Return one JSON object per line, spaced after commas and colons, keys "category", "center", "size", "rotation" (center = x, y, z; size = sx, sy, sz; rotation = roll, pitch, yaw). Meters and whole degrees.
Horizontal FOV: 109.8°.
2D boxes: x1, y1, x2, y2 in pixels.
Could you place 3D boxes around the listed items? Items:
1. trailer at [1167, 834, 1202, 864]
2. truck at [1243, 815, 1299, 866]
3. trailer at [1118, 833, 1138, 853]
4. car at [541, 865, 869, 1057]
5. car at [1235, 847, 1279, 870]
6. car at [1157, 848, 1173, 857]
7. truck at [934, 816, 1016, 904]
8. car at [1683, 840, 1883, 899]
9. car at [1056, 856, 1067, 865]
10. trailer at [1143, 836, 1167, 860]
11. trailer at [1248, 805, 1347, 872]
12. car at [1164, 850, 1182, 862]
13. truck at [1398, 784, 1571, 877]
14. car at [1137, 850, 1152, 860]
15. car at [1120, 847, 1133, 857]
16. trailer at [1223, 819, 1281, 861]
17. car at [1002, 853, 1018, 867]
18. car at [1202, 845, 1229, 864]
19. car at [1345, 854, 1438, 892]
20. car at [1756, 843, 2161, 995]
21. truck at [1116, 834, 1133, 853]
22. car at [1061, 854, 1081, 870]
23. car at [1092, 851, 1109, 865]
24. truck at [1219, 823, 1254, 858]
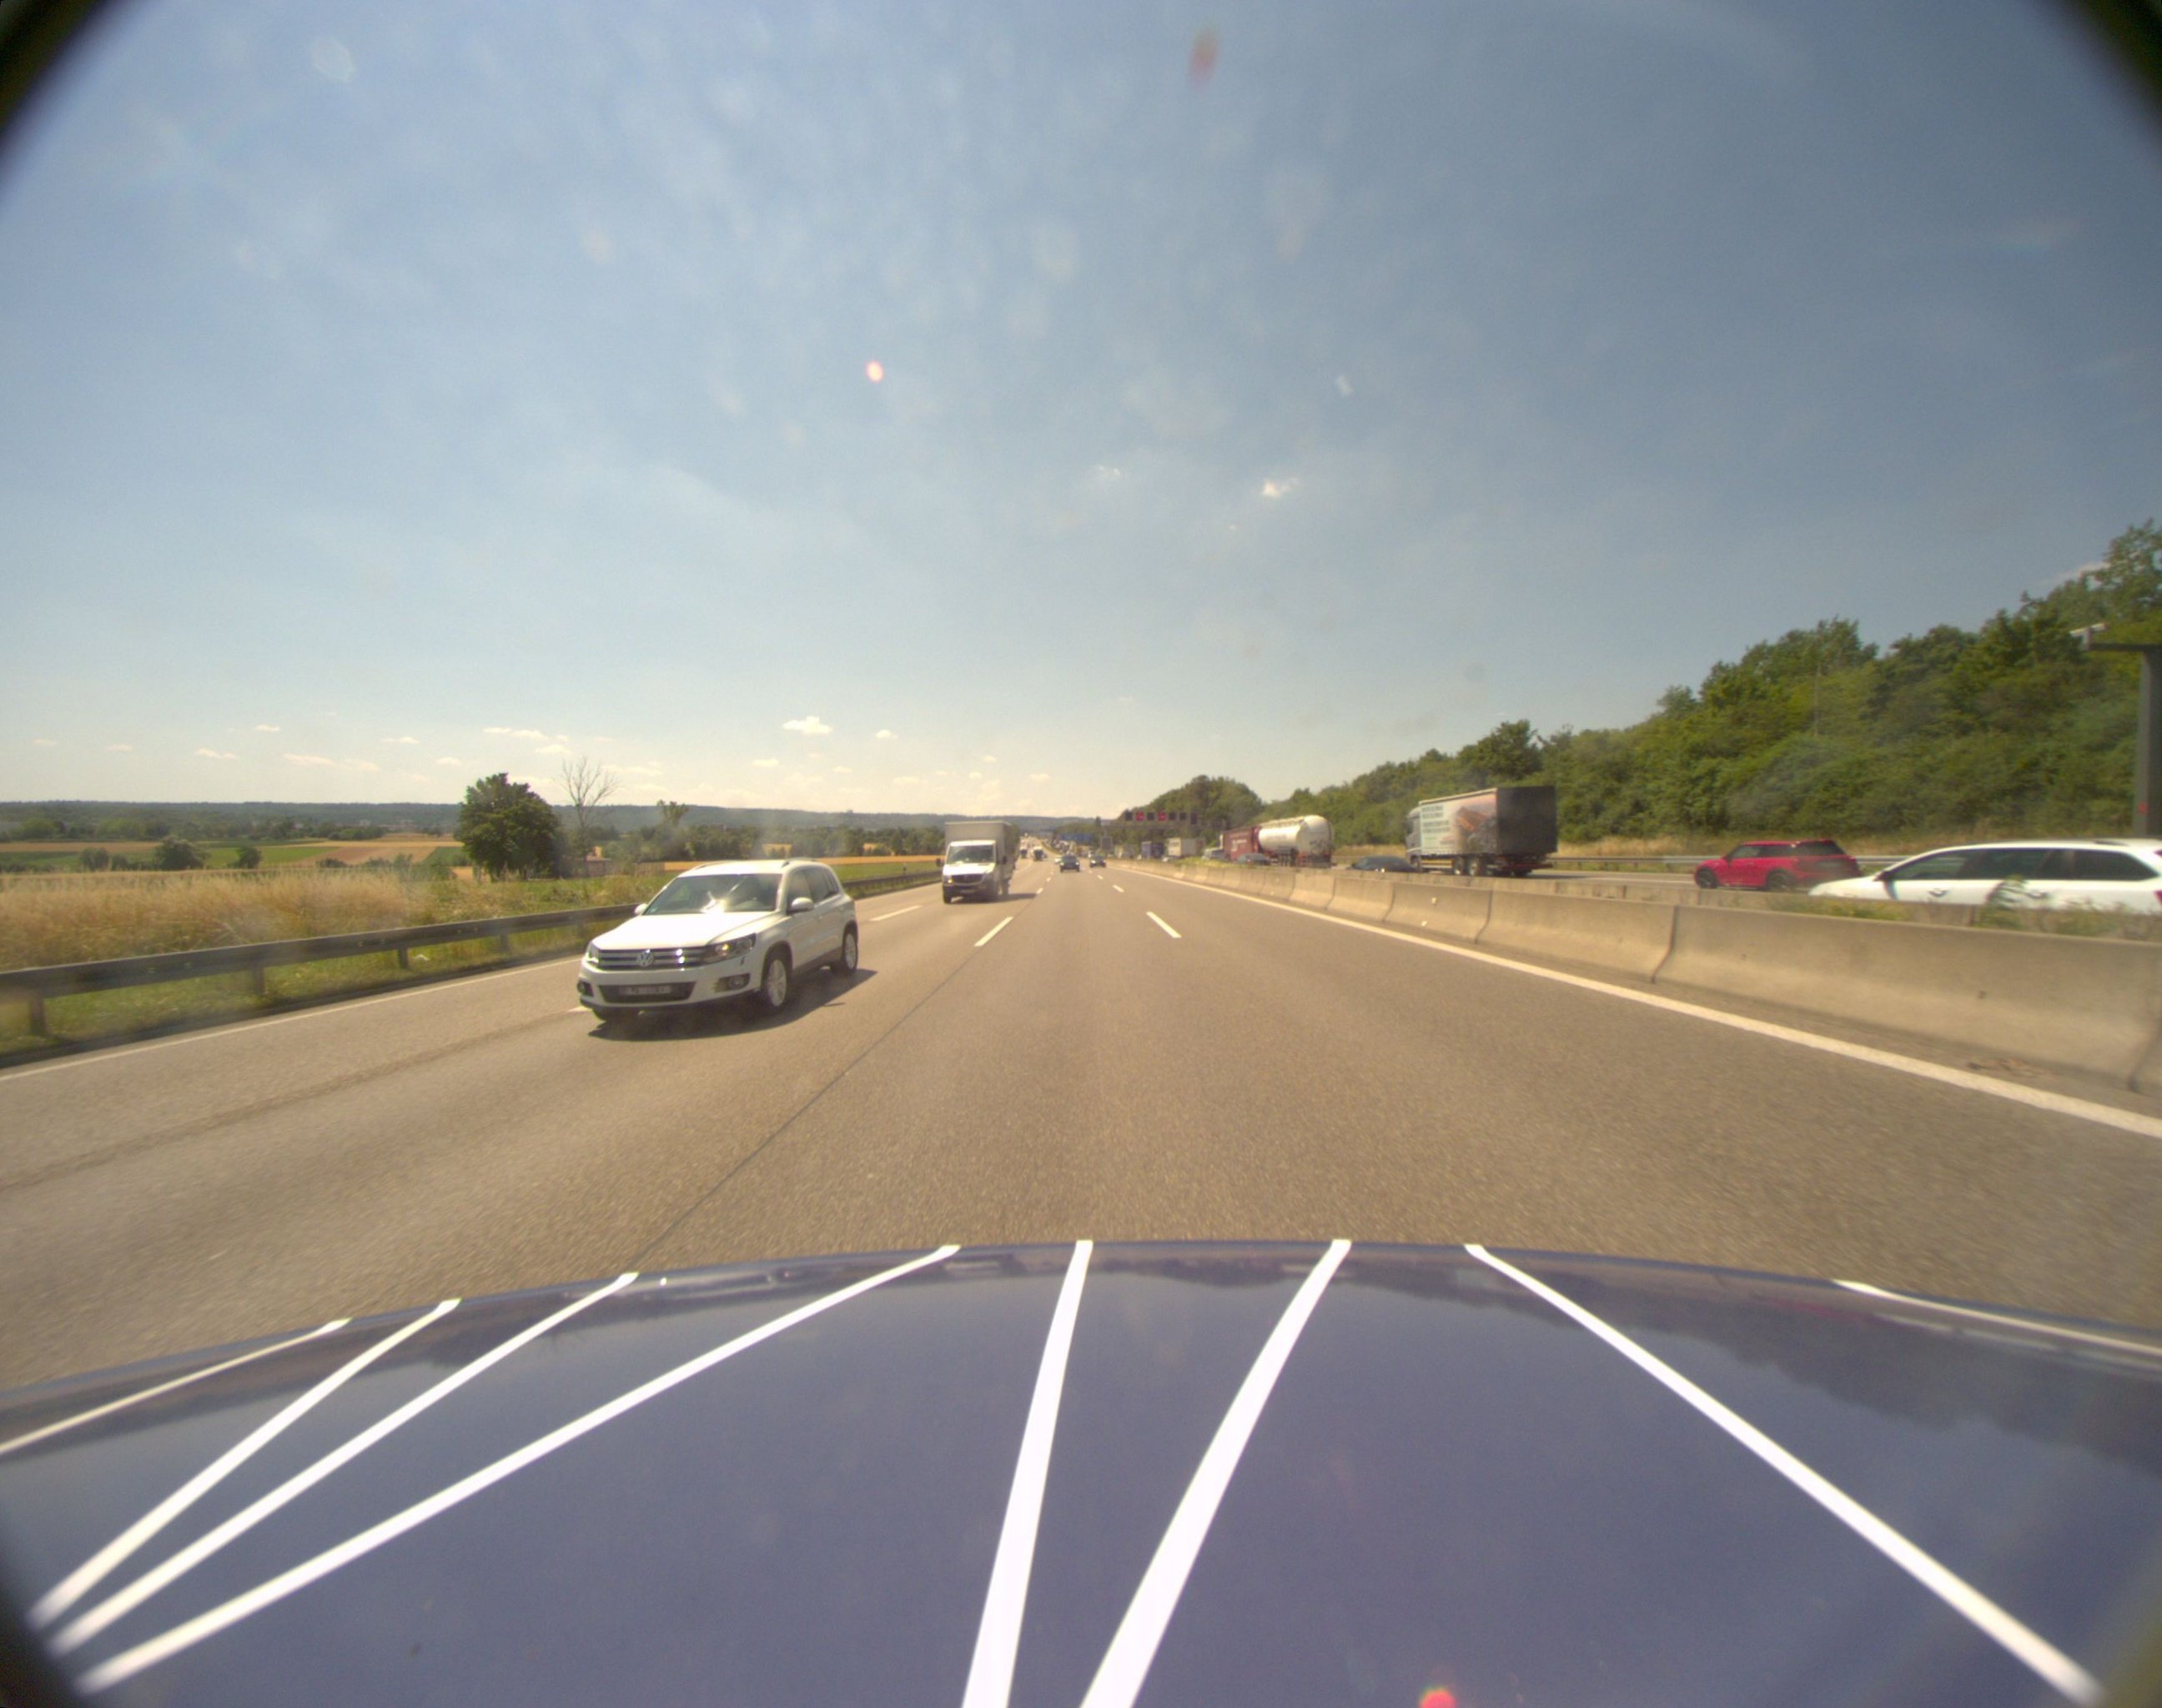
{"category": "trailer", "center": [16.857, -0.813, 125.109], "size": [3.363, 4.548, 13.644], "rotation": [-2, 1, -2]}
{"category": "truck", "center": [15.469, -1.066, 62.453], "size": [2.891, 3.859, 6.085], "rotation": [-2, 1, -1]}
{"category": "trailer", "center": [10.368, -2.360, 169.782], "size": [3.133, 4.143, 10.195], "rotation": [-2, 1, -3]}
{"category": "car", "center": [-4.047, 1.012, 9.103], "size": [1.837, 1.635, 4.172], "rotation": [-2, 0, -1]}
{"category": "car", "center": [12.213, 0.264, 52.907], "size": [1.848, 1.461, 4.831], "rotation": [-2, 1, -1]}
{"category": "car", "center": [12.810, -0.242, 116.275], "size": [1.766, 1.419, 3.998], "rotation": [-1, 0, -4]}
{"category": "truck", "center": [-4.007, 0.202, 30.151], "size": [2.445, 3.010, 6.914], "rotation": [-2, 0, -3]}
{"category": "car", "center": [18.777, 0.353, 20.632], "size": [1.751, 1.396, 4.212], "rotation": [-1, 0, 4]}
{"category": "car", "center": [-3.579, 1.134, 141.095], "size": [1.998, 1.467, 3.999], "rotation": [-2, 1, 0]}
{"category": "trailer", "center": [15.347, -1.175, 158.343], "size": [3.021, 4.698, 11.023], "rotation": [-2, 1, -3]}
{"category": "trailer", "center": [15.534, -1.078, 56.043], "size": [2.945, 4.141, 14.169], "rotation": [-2, 1, -1]}
{"category": "car", "center": [10.966, 0.262, 90.755], "size": [1.617, 1.315, 3.424], "rotation": [-1, 0, -1]}
{"category": "truck", "center": [19.354, -1.009, 37.531], "size": [3.016, 3.894, 10.355], "rotation": [-2, 0, 0]}
{"category": "car", "center": [9.724, 0.097, 116.521], "size": [1.766, 1.419, 3.998], "rotation": [-1, 0, -4]}
{"category": "car", "center": [8.470, -0.389, 141.555], "size": [1.911, 1.662, 3.998], "rotation": [-1, 0, -3]}
{"category": "trailer", "center": [18.599, -1.458, 83.856], "size": [2.946, 4.086, 14.081], "rotation": [-1, 0, -1]}
{"category": "car", "center": [-9.185, 0.770, 98.489], "size": [1.911, 1.778, 3.998], "rotation": [-1, 1, -3]}
{"category": "car", "center": [14.539, 0.022, 82.427], "size": [1.961, 2.018, 4.544], "rotation": [-1, 1, -2]}
{"category": "car", "center": [11.646, 0.654, 28.810], "size": [1.795, 1.268, 4.221], "rotation": [-1, 0, 0]}
{"category": "car", "center": [11.991, 0.645, 9.779], "size": [1.999, 1.511, 5.151], "rotation": [-2, 0, 0]}
{"category": "truck", "center": [10.031, -2.442, 175.405], "size": [3.133, 4.143, 6.233], "rotation": [-2, 1, -3]}
{"category": "car", "center": [-0.985, 0.781, 72.720], "size": [1.866, 1.426, 3.999], "rotation": [-1, 0, -1]}
{"category": "car", "center": [2.384, 0.505, 92.255], "size": [1.807, 1.533, 4.752], "rotation": [-1, -2, 4]}
{"category": "truck", "center": [18.524, -1.553, 90.865], "size": [2.976, 3.986, 5.131], "rotation": [-1, 1, -1]}
